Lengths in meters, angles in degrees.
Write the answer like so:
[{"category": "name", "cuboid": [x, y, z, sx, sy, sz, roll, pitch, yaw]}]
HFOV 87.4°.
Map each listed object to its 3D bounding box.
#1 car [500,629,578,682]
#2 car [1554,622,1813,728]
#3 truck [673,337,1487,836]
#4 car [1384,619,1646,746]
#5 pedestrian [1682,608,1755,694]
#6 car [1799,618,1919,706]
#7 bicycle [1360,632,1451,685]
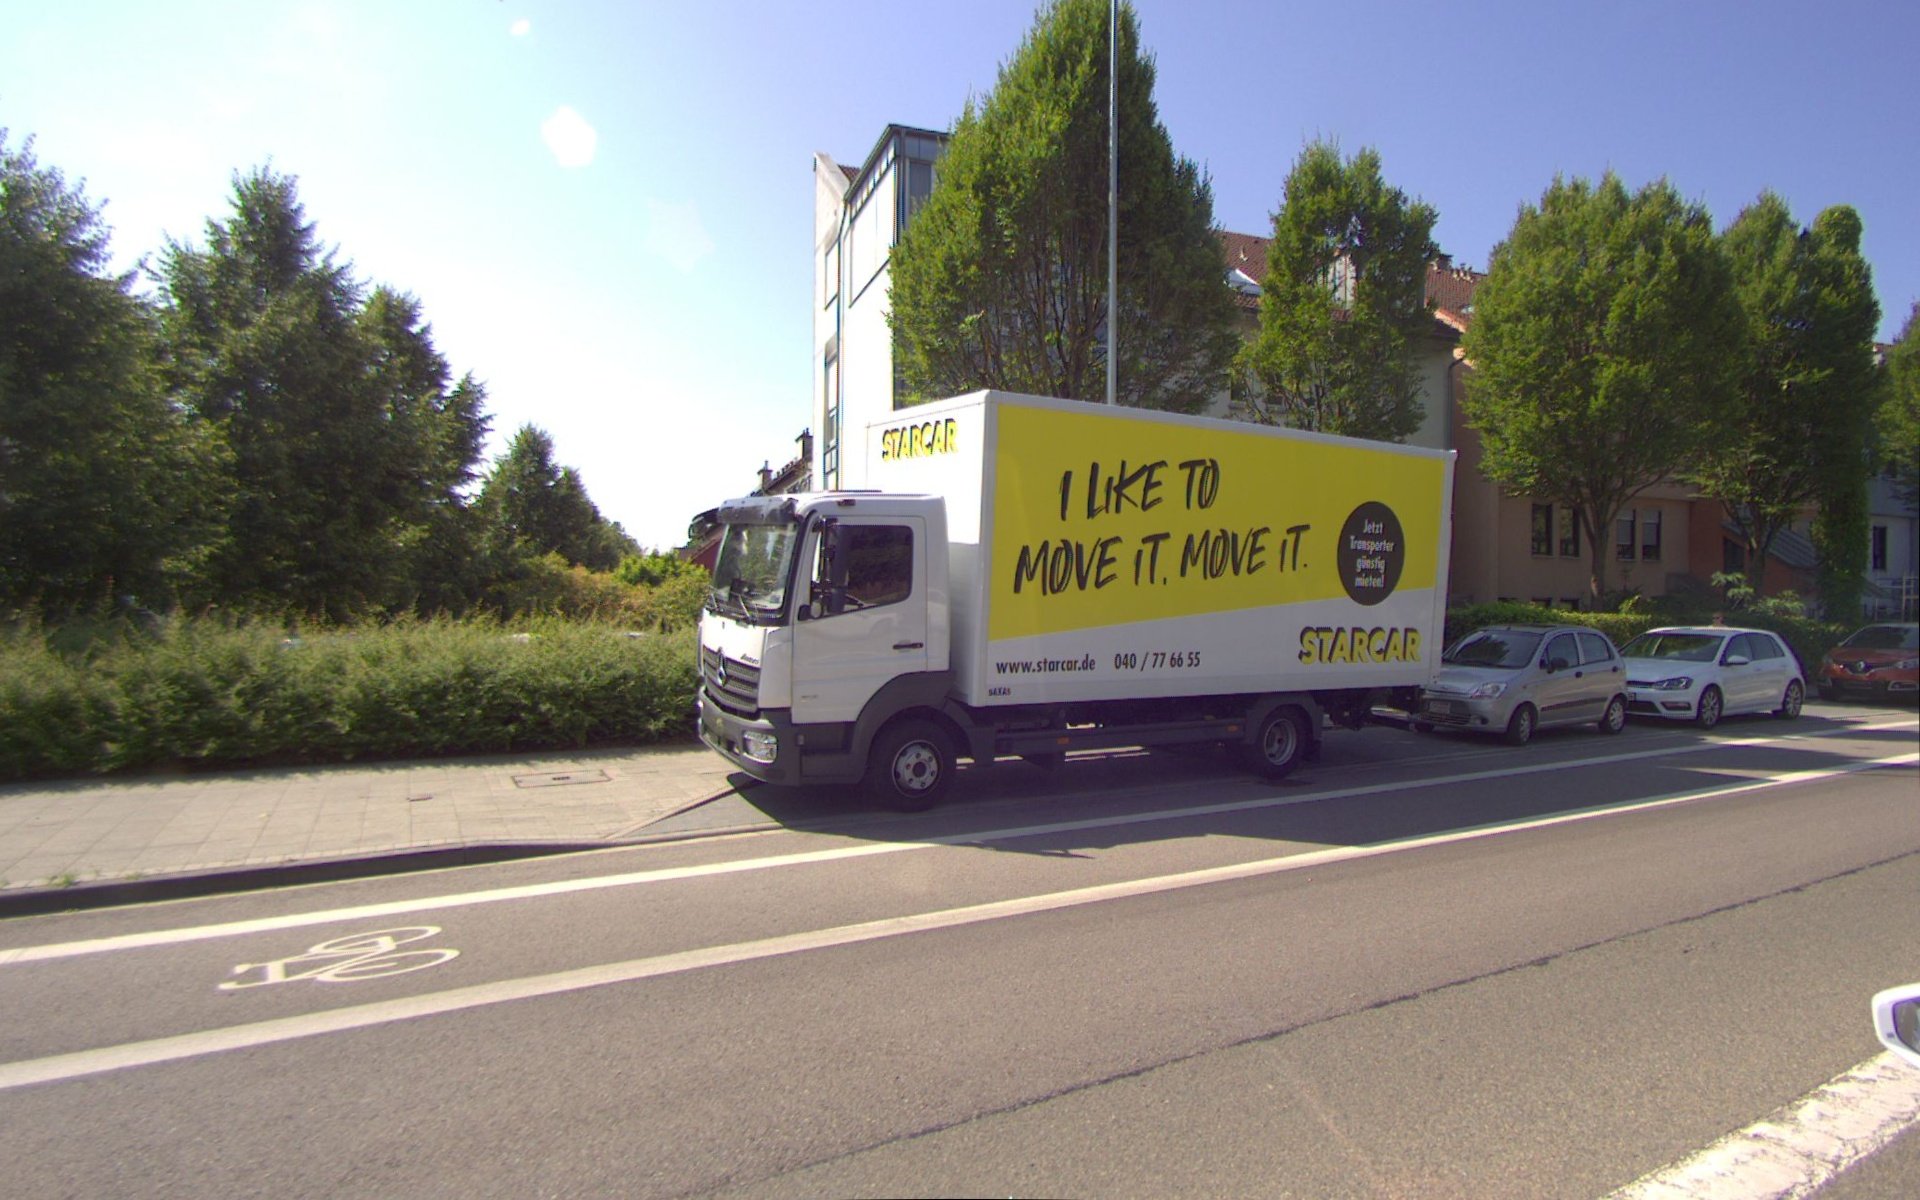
[{"category": "car", "cuboid": [-10.724, 1.380, 25.790, 1.550, 1.221, 3.648, 0, -1, -18]}, {"category": "car", "cuboid": [11.612, 1.106, 16.064, 4.230, 1.448, 1.749, 1, 1, -30]}, {"category": "truck", "cuboid": [1.619, -0.070, 10.462, 8.487, 3.577, 2.655, 1, 1, -30]}, {"category": "car", "cuboid": [7.729, 1.044, 13.929, 3.594, 1.504, 1.601, 1, 1, -31]}, {"category": "pedestrian", "cuboid": [15.693, 1.034, 20.790, 1.042, 1.713, 0.871, 1, -1, -29]}, {"category": "car", "cuboid": [18.961, 1.173, 20.230, 4.265, 1.572, 1.723, 1, 0, -29]}, {"category": "bicycle", "cuboid": [9.451, 1.217, 21.396, 0.541, 1.024, 2.010, 0, -1, -20]}]
